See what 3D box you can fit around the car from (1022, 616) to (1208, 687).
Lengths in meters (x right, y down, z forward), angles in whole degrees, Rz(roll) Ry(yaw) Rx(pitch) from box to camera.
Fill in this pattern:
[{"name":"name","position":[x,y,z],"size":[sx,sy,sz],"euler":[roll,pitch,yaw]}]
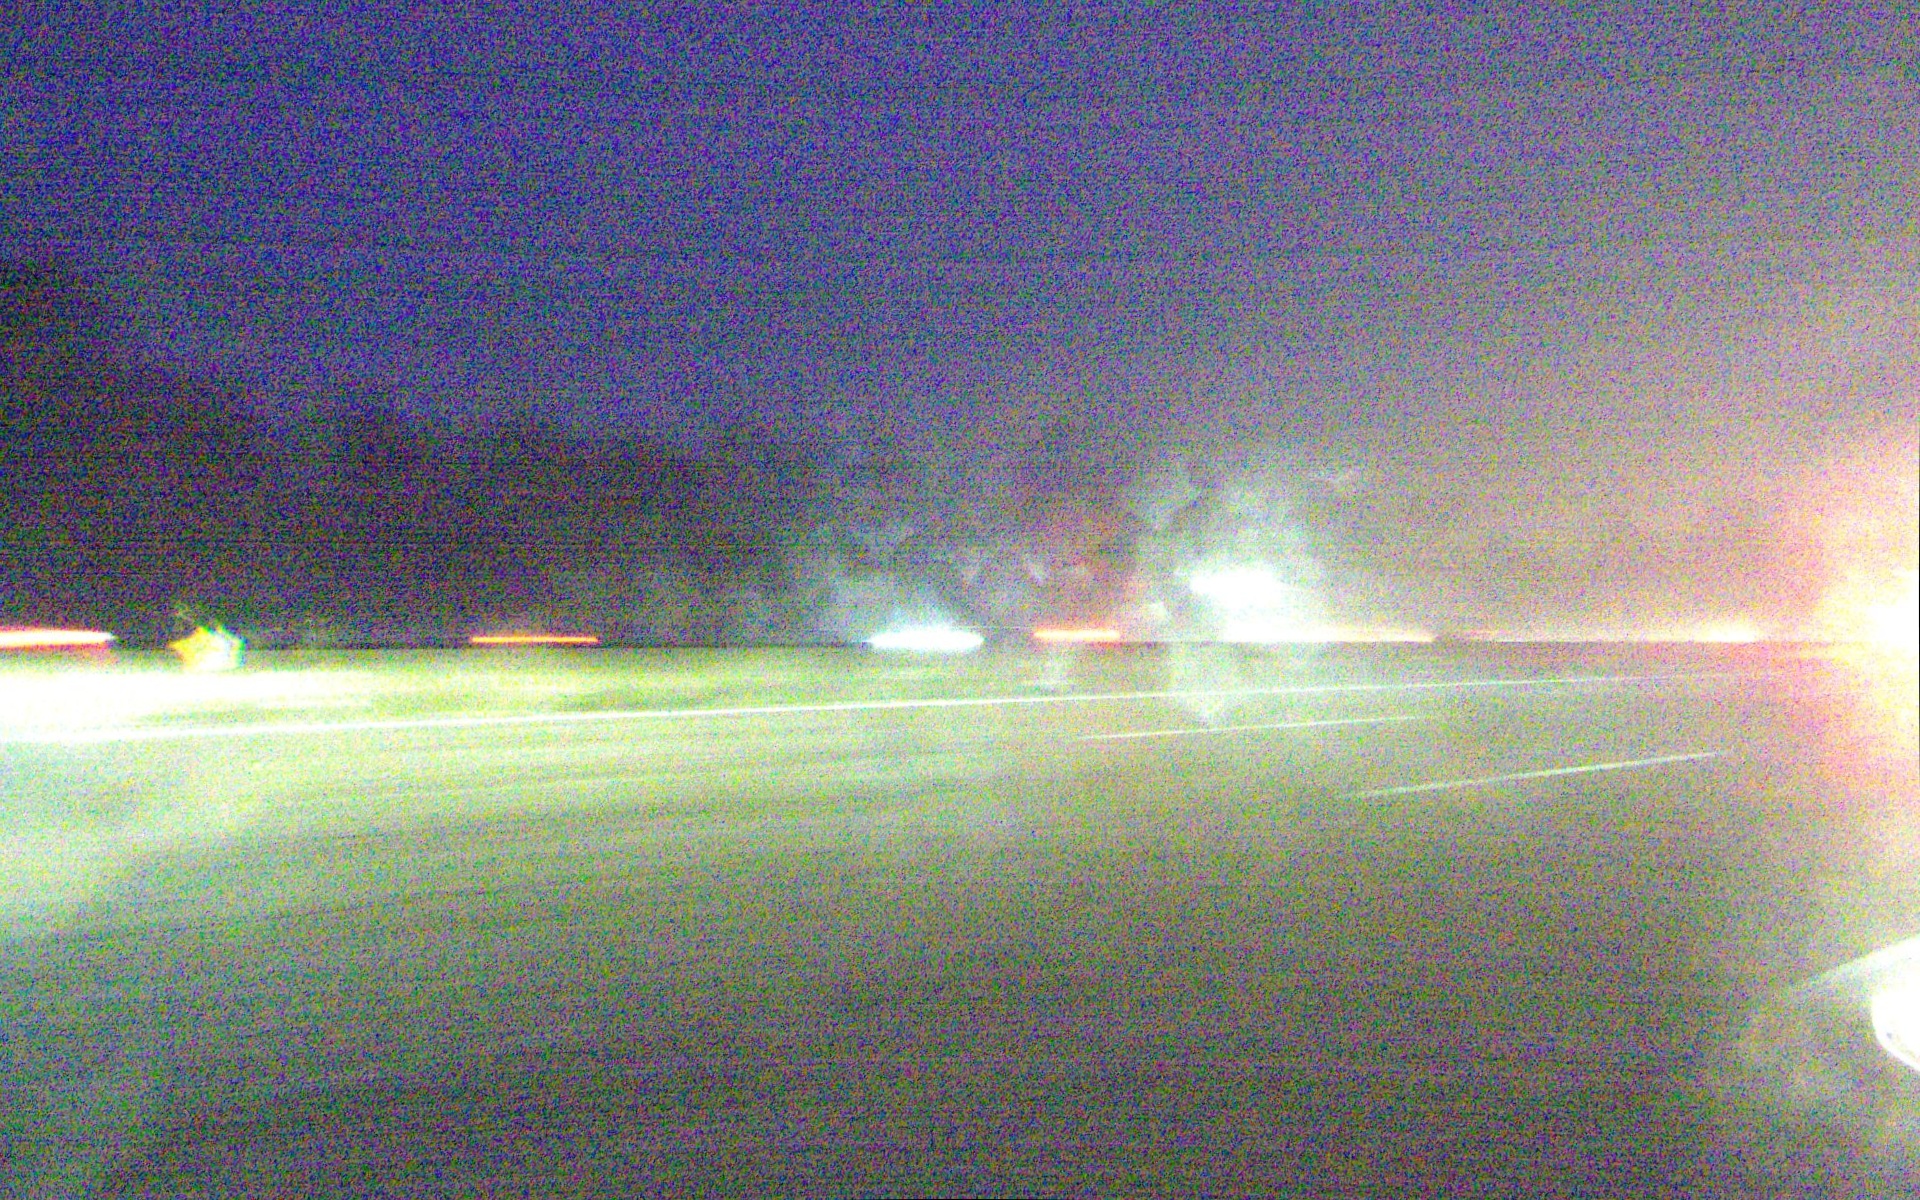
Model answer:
[{"name":"car","position":[3.923,1.271,25.177],"size":[4.409,1.578,1.870],"euler":[2,0,-31]}]

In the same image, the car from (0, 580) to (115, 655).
[{"name":"car","position":[-21.682,0.347,22.117],"size":[4.409,1.578,1.870],"euler":[2,0,-31]}]

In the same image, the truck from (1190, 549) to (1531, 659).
[{"name":"truck","position":[17.283,0.350,42.169],"size":[16.977,3.940,3.483],"euler":[2,0,-30]}]

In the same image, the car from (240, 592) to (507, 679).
[{"name":"car","position":[-11.652,0.708,20.219],"size":[4.409,1.578,1.870],"euler":[2,0,-31]}]
